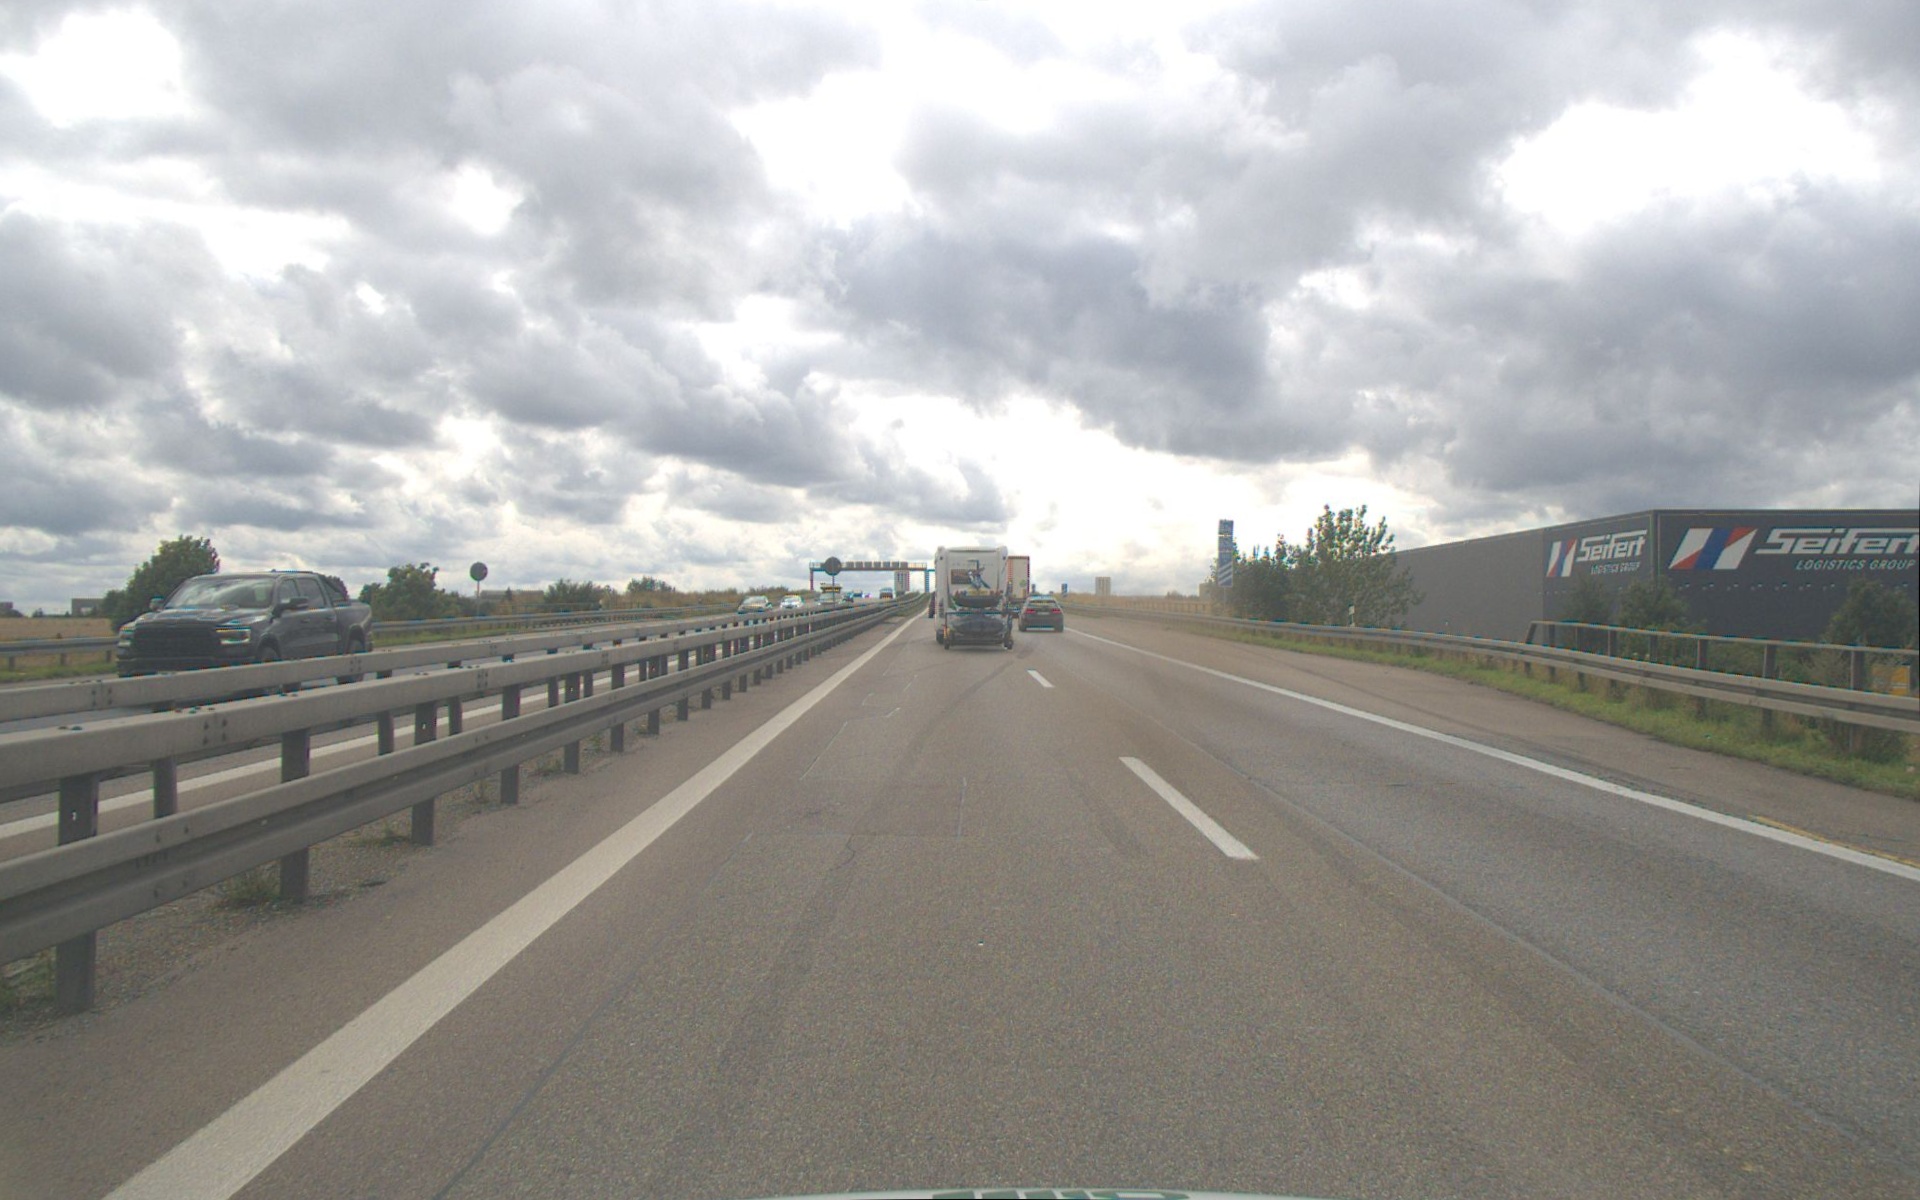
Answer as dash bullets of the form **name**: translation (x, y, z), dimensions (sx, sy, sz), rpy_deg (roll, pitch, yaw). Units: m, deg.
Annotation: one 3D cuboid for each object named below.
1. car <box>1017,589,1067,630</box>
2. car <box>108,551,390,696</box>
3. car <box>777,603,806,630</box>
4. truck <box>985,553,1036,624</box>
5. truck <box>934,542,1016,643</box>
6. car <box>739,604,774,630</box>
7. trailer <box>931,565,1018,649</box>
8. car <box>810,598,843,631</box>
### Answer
- **car**: translation (3.445, 0.426, 70.186), dimensions (1.844, 1.649, 3.999), rpy_deg (0, -1, -1)
- **car**: translation (-11.148, 0.316, 26.527), dimensions (1.953, 2.049, 6.101), rpy_deg (0, 0, -1)
- **car**: translation (-12.840, 1.290, 126.359), dimensions (1.953, 2.049, 4.381), rpy_deg (0, -1, -2)
- **truck**: translation (3.345, -0.681, 111.089), dimensions (3.180, 4.605, 7.065), rpy_deg (0, -1, 0)
- **truck**: translation (0.448, -0.179, 52.519), dimensions (2.431, 3.002, 5.814), rpy_deg (0, -1, 0)
- **car**: translation (-12.498, 1.043, 101.669), dimensions (1.721, 1.494, 4.559), rpy_deg (0, 0, -2)
- **trailer**: translation (0.451, 0.211, 45.448), dimensions (2.290, 2.174, 4.001), rpy_deg (0, -1, 2)
- **car**: translation (-8.662, 0.910, 107.450), dimensions (1.953, 2.049, 4.382), rpy_deg (0, 0, -2)
